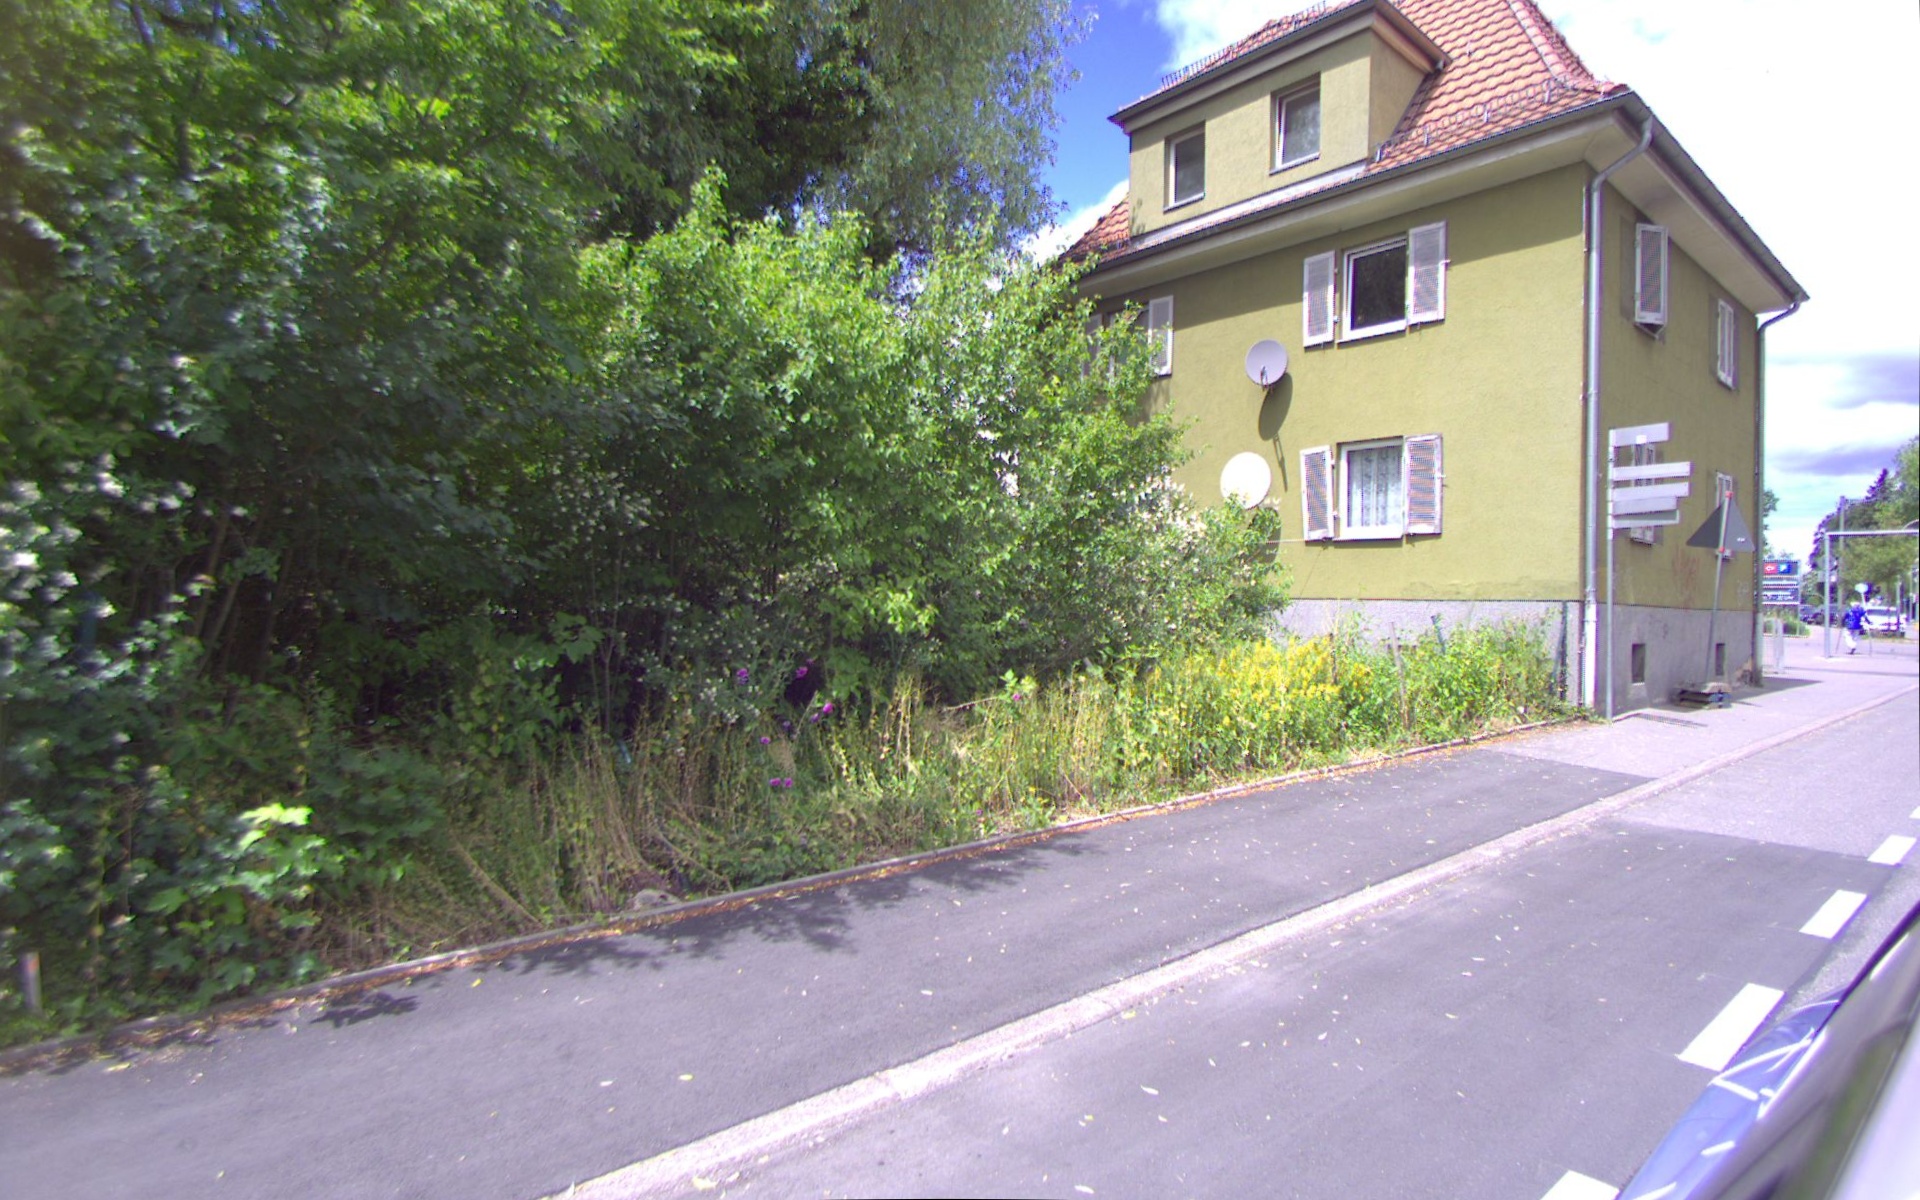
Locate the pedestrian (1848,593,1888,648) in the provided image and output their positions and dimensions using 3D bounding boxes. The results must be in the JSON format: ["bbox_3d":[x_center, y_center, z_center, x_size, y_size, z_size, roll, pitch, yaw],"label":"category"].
[{"bbox_3d":[27.255,0.589,30.374,0.824,1.592,0.972,2,1,45],"label":"pedestrian"}]

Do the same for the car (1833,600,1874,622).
[{"bbox_3d":[64.987,0.771,73.655,1.694,1.551,3.951,-1,-1,34],"label":"car"}]

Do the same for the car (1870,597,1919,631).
[{"bbox_3d":[47.520,0.687,51.328,1.788,1.549,3.864,4,2,40],"label":"car"}]
